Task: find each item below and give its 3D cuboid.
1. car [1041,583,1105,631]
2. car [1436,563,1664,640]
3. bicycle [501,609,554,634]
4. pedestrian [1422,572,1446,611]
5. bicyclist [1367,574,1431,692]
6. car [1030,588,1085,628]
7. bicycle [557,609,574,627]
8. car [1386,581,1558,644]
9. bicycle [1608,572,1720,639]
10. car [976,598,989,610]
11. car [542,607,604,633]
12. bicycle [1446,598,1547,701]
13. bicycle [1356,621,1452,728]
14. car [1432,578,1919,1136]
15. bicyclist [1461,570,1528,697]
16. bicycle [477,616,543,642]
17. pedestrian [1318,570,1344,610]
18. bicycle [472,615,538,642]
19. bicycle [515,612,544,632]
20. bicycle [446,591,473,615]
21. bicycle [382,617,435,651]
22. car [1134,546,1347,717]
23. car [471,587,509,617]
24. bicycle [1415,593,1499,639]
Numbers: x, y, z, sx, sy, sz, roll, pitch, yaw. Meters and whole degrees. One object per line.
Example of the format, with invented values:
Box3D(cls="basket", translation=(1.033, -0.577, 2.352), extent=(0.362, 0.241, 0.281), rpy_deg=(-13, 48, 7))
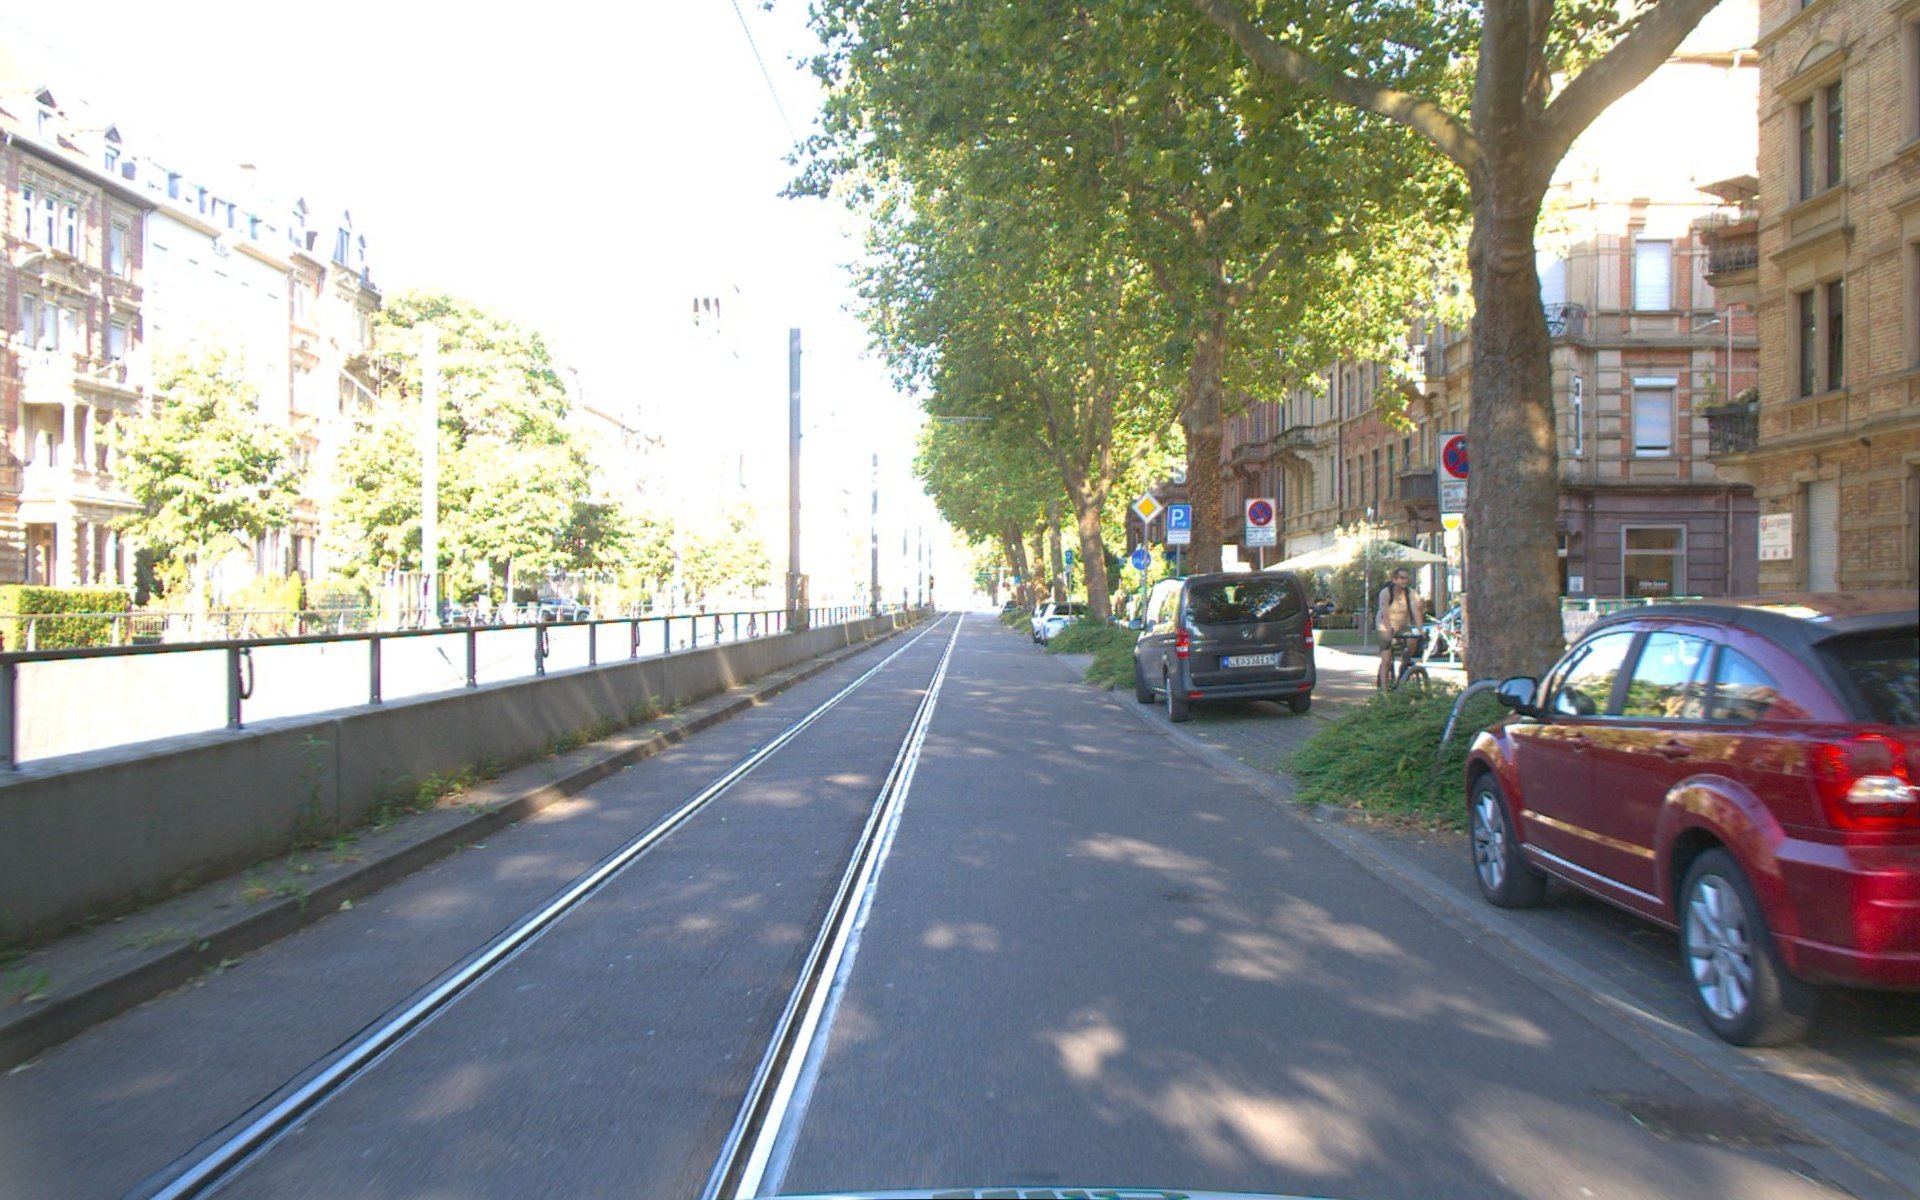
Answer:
Box3D(cls="car", translation=(3.754, 0.204, 55.713), extent=(1.765, 1.503, 4.646), rpy_deg=(-2, 1, 0))
Box3D(cls="car", translation=(13.486, 0.022, 37.935), extent=(4.512, 1.575, 1.921), rpy_deg=(-2, 1, -5))
Box3D(cls="bicycle", translation=(-20.239, 0.996, 77.476), extent=(2.343, 1.117, 0.551), rpy_deg=(0, 1, -31))
Box3D(cls="pedestrian", translation=(14.326, -0.268, 49.956), extent=(0.545, 1.158, 0.526), rpy_deg=(-2, 0, -1))
Box3D(cls="bicyclist", translation=(5.401, 0.394, 20.386), extent=(0.558, 1.404, 0.644), rpy_deg=(-3, 0, -1))
Box3D(cls="car", translation=(3.564, 0.258, 60.936), extent=(1.792, 1.349, 4.000), rpy_deg=(-2, 1, 0))
Box3D(cls="bicycle", translation=(-23.373, 1.077, 98.008), extent=(0.449, 1.023, 1.924), rpy_deg=(0, -2, -30))
Box3D(cls="car", translation=(13.331, 0.307, 43.163), extent=(3.908, 1.388, 1.742), rpy_deg=(-2, 2, -3))
Box3D(cls="bicycle", translation=(13.049, 0.102, 30.674), extent=(1.823, 1.173, 0.476), rpy_deg=(-2, 0, 4))
Box3D(cls="car", translation=(2.991, 0.489, 223.180), extent=(1.709, 1.487, 3.644), rpy_deg=(0, 1, -1))
Box3D(cls="car", translation=(-26.123, 1.354, 111.750), extent=(3.913, 1.652, 1.822), rpy_deg=(-1, 1, -9))
Box3D(cls="bicycle", translation=(6.595, 0.577, 20.422), extent=(0.549, 1.199, 2.021), rpy_deg=(-1, 0, 0))
Box3D(cls="bicycle", translation=(5.427, 0.882, 20.329), extent=(0.549, 1.199, 2.226), rpy_deg=(-1, 0, 0))
Box3D(cls="car", translation=(3.566, 0.738, 7.148), extent=(1.679, 1.575, 4.500), rpy_deg=(-3, 0, 0))
Box3D(cls="bicyclist", translation=(6.579, 0.402, 20.382), extent=(0.558, 1.513, 0.644), rpy_deg=(-2, 1, -1))
Box3D(cls="bicycle", translation=(-19.837, 1.272, 73.007), extent=(2.751, 1.117, 0.636), rpy_deg=(0, 1, -33))
Box3D(cls="pedestrian", translation=(12.518, -0.332, 55.774), extent=(0.698, 1.322, 0.663), rpy_deg=(-2, 0, 1))
Box3D(cls="bicycle", translation=(-20.230, 1.260, 73.571), extent=(2.751, 1.117, 0.636), rpy_deg=(0, 1, -33))
Box3D(cls="bicycle", translation=(-20.333, 1.043, 78.091), extent=(1.251, 0.921, 0.534), rpy_deg=(0, 1, -30))
Box3D(cls="bicycle", translation=(-23.720, 0.141, 78.414), extent=(0.544, 1.117, 2.376), rpy_deg=(0, 1, 0))
Box3D(cls="bicycle", translation=(-20.581, 1.264, 61.719), extent=(1.770, 1.199, 0.563), rpy_deg=(1, 1, 2))
Box3D(cls="car", translation=(3.806, 0.337, 23.386), extent=(1.953, 2.048, 5.201), rpy_deg=(-3, 1, -1))
Box3D(cls="car", translation=(-30.188, 0.108, 106.257), extent=(1.958, 1.881, 4.468), rpy_deg=(0, 1, -11))
Box3D(cls="bicycle", translation=(10.878, 0.342, 36.236), extent=(1.660, 0.933, 0.601), rpy_deg=(-2, 1, -11))
